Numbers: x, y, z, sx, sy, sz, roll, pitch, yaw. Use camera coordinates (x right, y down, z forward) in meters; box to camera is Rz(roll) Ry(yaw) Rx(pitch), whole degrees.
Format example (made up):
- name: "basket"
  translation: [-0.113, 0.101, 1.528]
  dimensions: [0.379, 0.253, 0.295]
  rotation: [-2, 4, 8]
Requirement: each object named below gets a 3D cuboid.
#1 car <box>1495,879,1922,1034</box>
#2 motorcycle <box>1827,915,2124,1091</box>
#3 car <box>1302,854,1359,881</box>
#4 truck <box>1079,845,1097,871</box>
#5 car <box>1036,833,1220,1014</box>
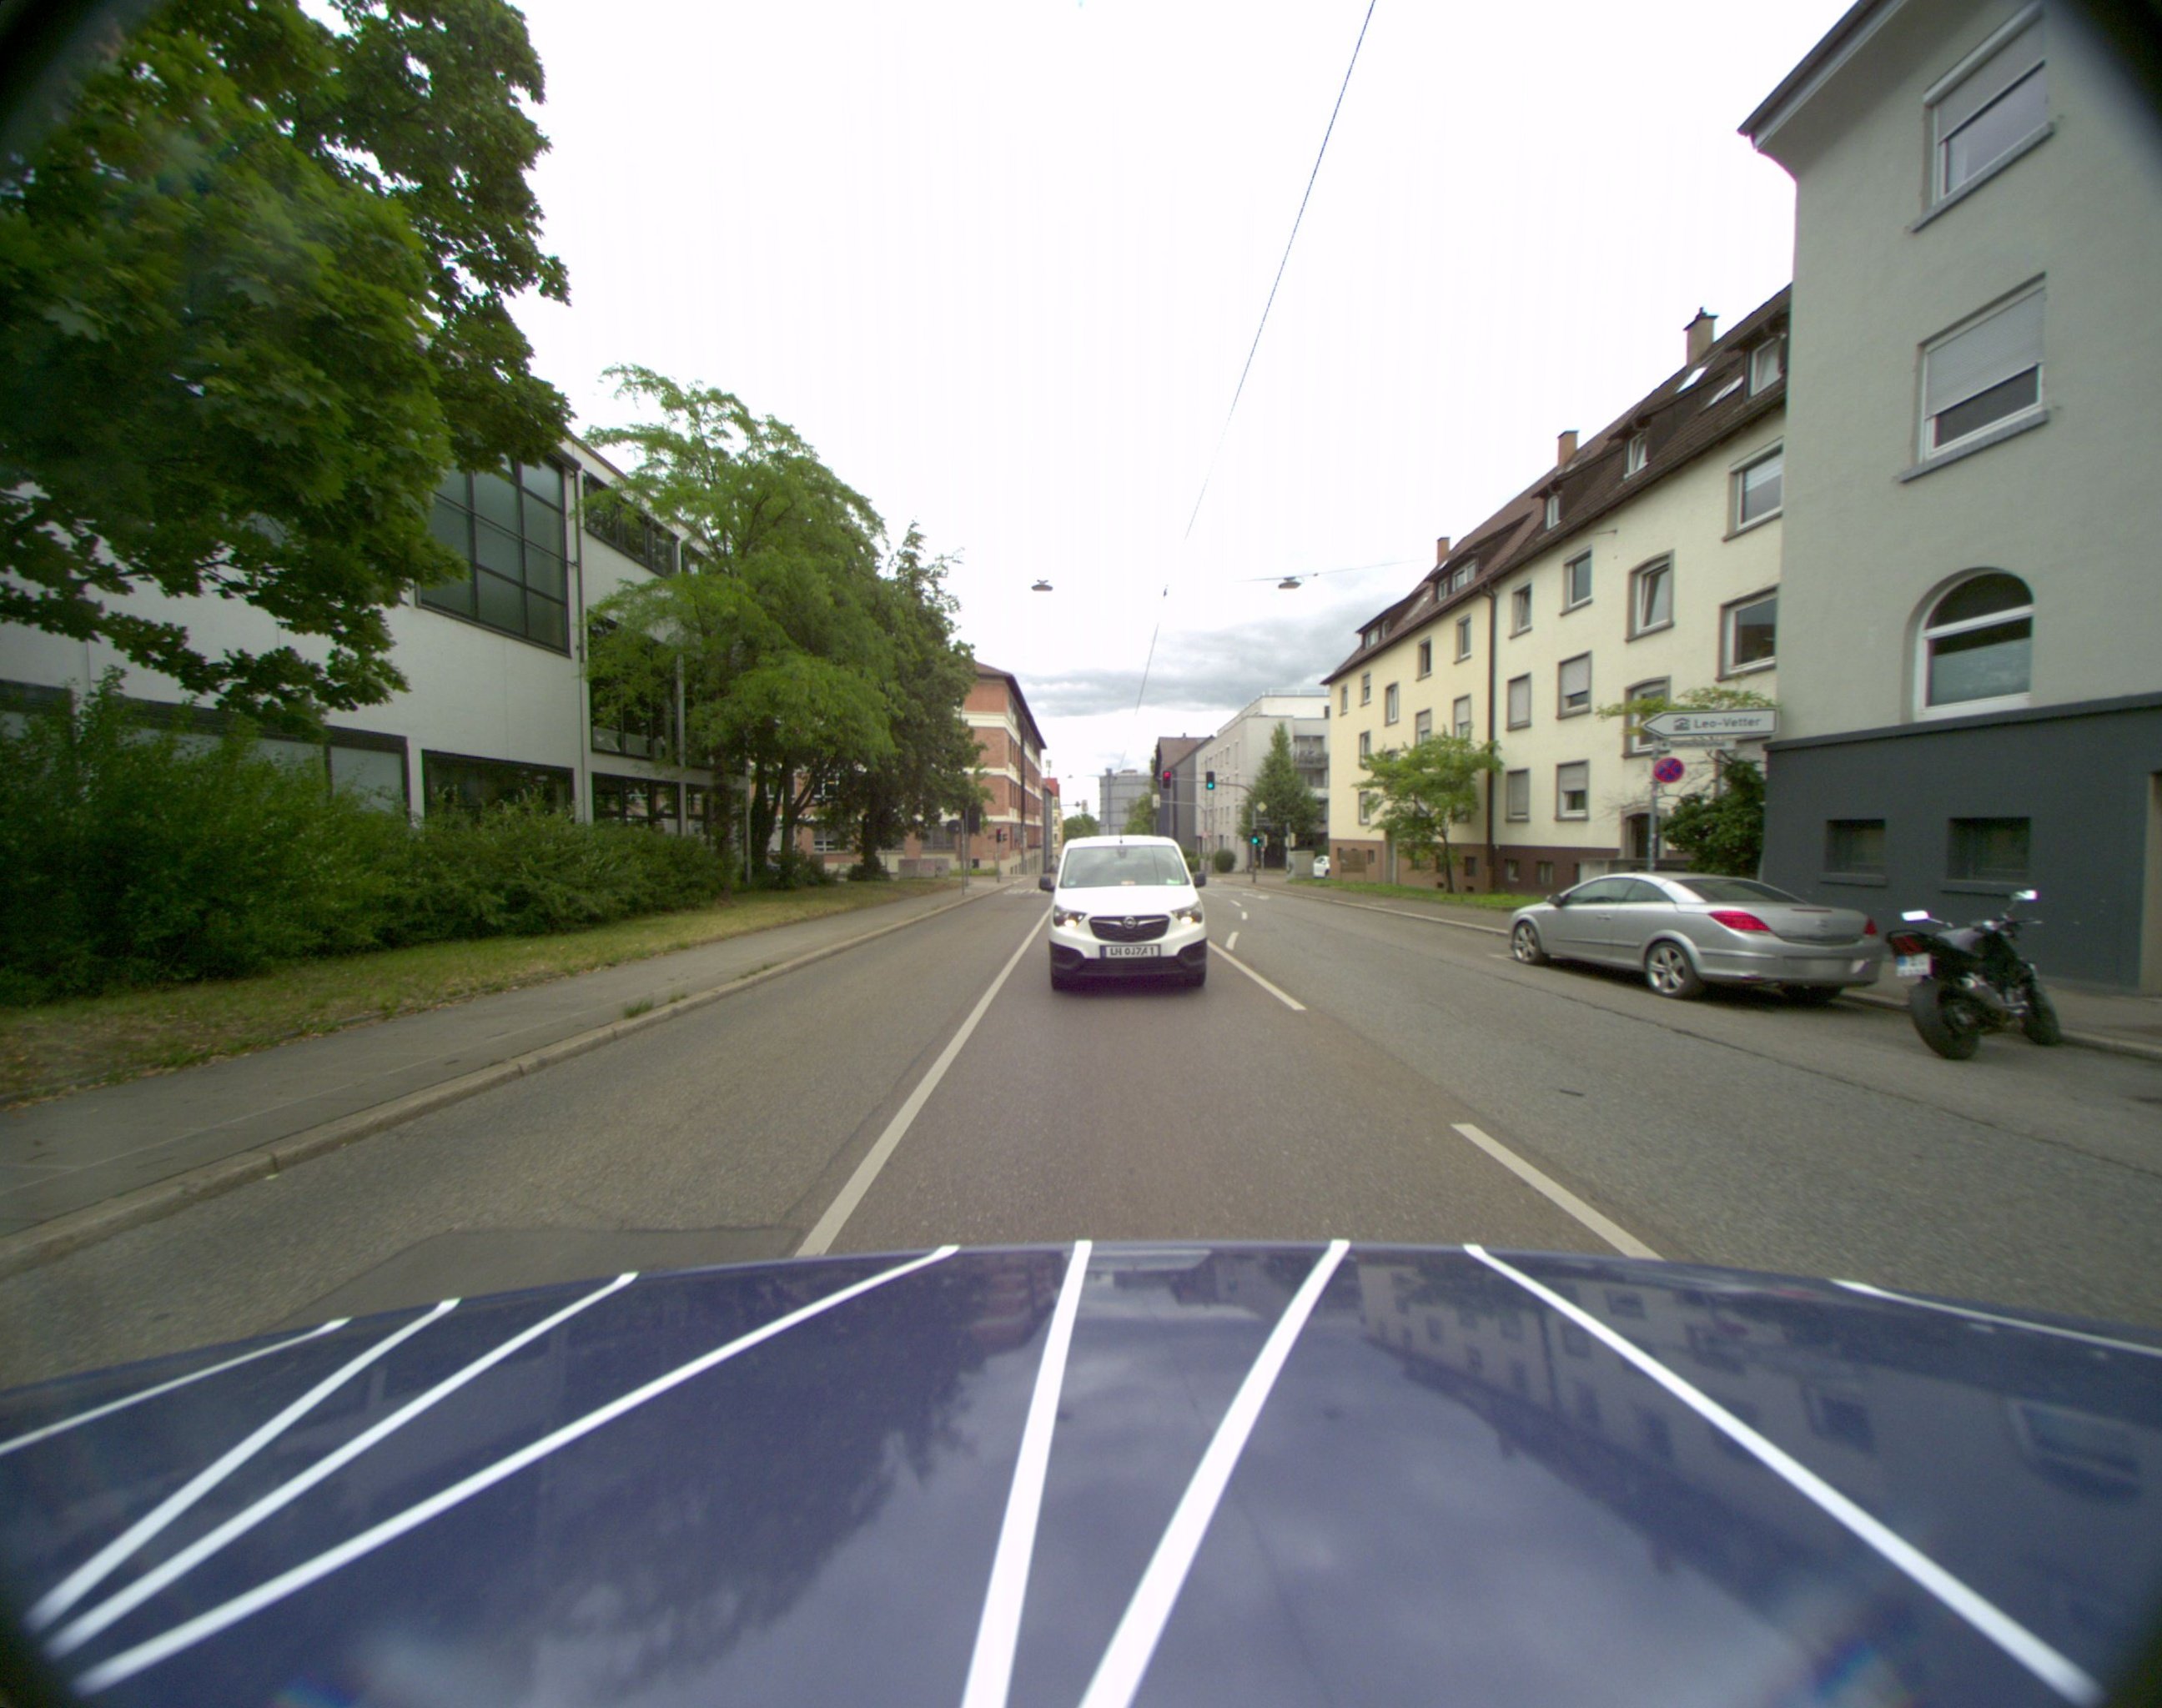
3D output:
- name: "car"
  translation: [7.257, 1.062, 9.519]
  dimensions: [1.731, 1.366, 4.337]
  rotation: [0, 0, -1]
- name: "motorcycle"
  translation: [7.319, 1.152, 6.231]
  dimensions: [2.048, 1.228, 0.806]
  rotation: [2, 0, -17]
- name: "car"
  translation: [15.143, 0.861, 46.351]
  dimensions: [1.819, 1.527, 4.260]
  rotation: [2, -1, -4]
- name: "truck"
  translation: [1.026, 0.577, 108.171]
  dimensions: [2.545, 3.478, 8.521]
  rotation: [0, 0, 1]
- name: "car"
  translation: [0.520, 0.760, 9.943]
  dimensions: [1.850, 1.831, 4.285]
  rotation: [-1, -1, 1]
